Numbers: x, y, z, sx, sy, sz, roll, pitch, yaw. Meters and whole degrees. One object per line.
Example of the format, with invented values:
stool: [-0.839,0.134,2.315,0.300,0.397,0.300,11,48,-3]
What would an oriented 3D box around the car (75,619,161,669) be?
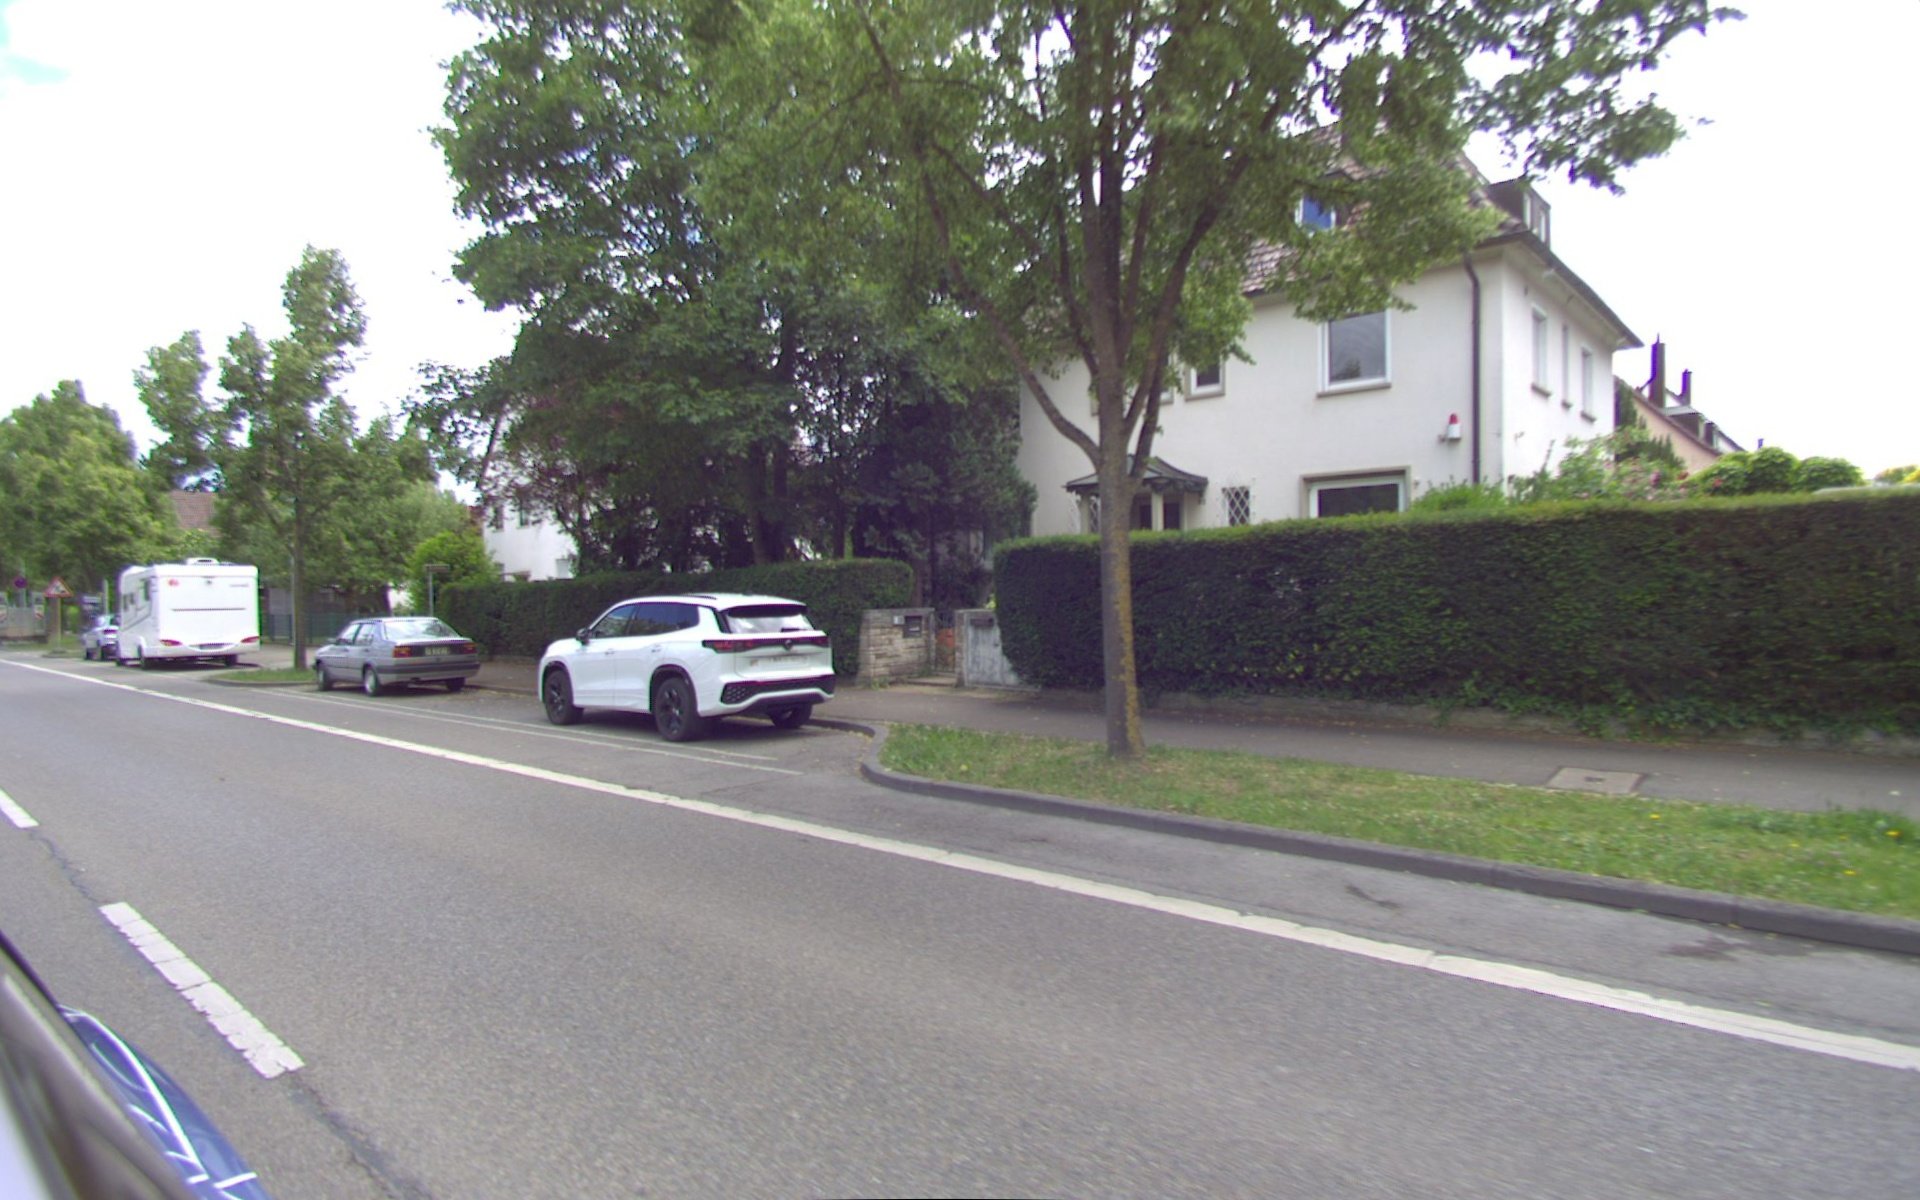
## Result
car: [-29.476,1.497,35.389,4.271,1.612,1.704,-1,-1,42]

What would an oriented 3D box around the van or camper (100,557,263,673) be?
van or camper: [-23.109,0.461,29.880,7.689,3.032,2.410,-1,-1,42]

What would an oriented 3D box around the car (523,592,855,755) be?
car: [-3.555,0.799,12.698,4.699,1.664,1.797,-2,0,43]

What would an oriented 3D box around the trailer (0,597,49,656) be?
trailer: [-51.475,1.385,54.457,7.471,2.963,2.646,0,0,41]

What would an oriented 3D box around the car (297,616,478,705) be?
car: [-11.023,1.086,19.360,4.448,1.481,1.540,-1,0,40]

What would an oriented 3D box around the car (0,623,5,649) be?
car: [-62.249,2.284,64.312,4.618,1.564,1.841,1,1,42]
